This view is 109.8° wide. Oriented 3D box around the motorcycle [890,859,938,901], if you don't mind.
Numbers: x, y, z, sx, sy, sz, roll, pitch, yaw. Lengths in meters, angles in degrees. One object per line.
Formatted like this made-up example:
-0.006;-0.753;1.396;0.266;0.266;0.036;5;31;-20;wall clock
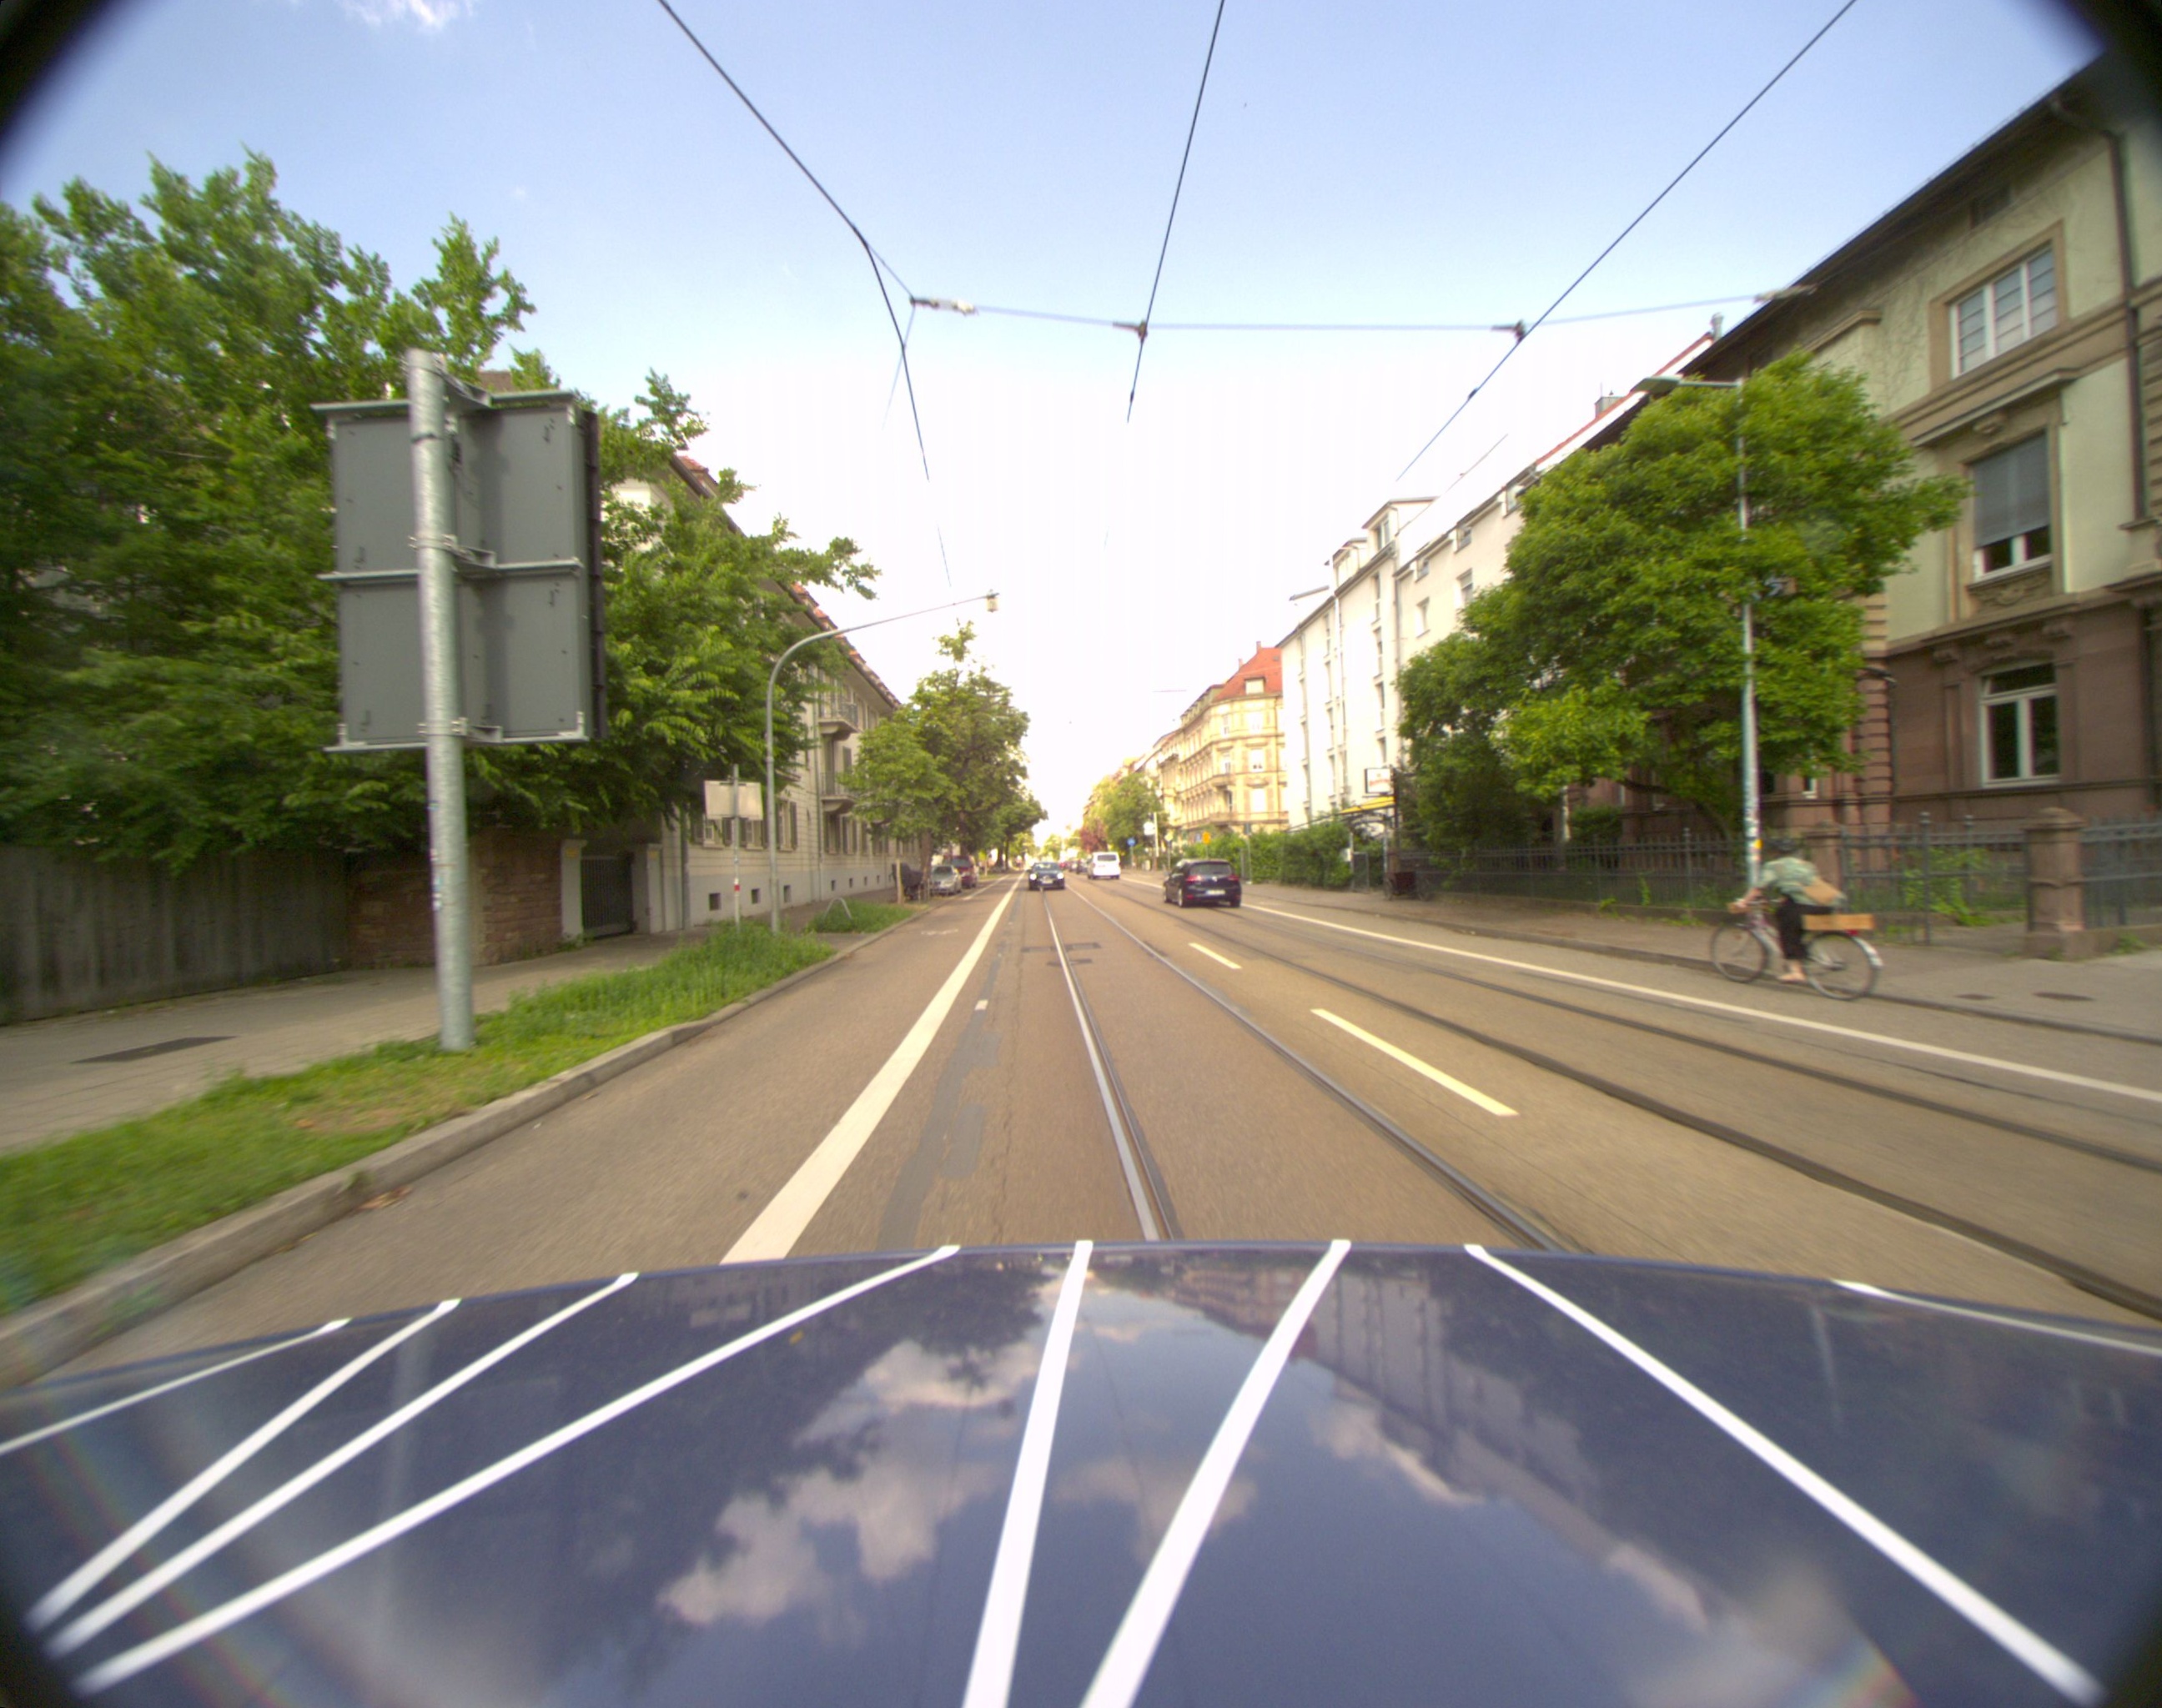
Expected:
-6.504;0.974;29.703;0.982;1.533;2.441;-2;0;8;motorcycle

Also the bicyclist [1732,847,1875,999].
7.610;0.697;8.048;0.601;1.484;0.882;3;0;-1;bicyclist

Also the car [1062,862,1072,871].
-2.276;2.026;121.623;1.599;1.432;3.935;-1;0;-2;car

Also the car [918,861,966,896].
-6.697;1.146;37.009;1.712;1.489;4.787;-2;0;-4;car

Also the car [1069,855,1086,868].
-0.467;0.878;90.955;1.732;1.531;4.275;-1;0;-5;car

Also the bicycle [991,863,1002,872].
-10.488;1.700;94.534;1.271;1.060;0.478;-3;0;-4;bicycle

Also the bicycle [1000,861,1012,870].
-10.729;1.708;108.624;1.491;1.213;0.518;-2;1;3;bicycle

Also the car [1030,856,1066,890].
-1.732;0.951;39.010;1.694;1.567;4.155;-2;0;-3;car

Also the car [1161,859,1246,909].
3.631;0.851;23.197;1.693;1.393;3.929;0;0;-4;car

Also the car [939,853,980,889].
-7.196;0.969;45.414;1.901;1.929;4.949;-2;0;-4;car

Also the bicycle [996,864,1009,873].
-10.234;1.871;99.467;1.651;1.064;0.348;-2;0;0;bicycle

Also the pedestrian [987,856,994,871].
-12.344;1.295;103.695;0.755;1.878;0.886;-3;0;-4;pedestrian

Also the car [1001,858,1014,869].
-10.012;1.275;103.893;1.589;1.436;3.897;-2;0;-4;car

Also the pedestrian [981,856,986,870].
-13.256;1.227;103.543;0.506;1.841;0.687;-3;0;-4;pedestrian

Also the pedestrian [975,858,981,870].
-14.116;1.401;104.179;0.582;1.630;0.975;-3;0;-4;pedestrian

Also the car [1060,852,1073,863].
-2.057;0.515;107.207;1.633;1.399;4.128;-3;0;-4;car

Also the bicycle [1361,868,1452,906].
9.412;0.924;22.182;1.146;0.903;2.987;-5;0;-4;bicycle

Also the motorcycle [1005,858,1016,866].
-13.363;1.463;144.044;2.065;1.485;0.812;-2;0;42;motorcycle

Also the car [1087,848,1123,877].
1.637;0.577;54.098;1.903;1.896;5.382;-2;0;-5;car

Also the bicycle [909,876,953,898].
-6.568;1.448;33.269;1.781;0.897;0.691;-2;0;-1;bicycle

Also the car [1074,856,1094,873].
0.288;0.990;72.716;1.636;1.547;3.820;-2;0;-3;car

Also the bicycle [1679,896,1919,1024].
7.592;1.057;8.201;0.604;1.090;2.022;3;-1;-1;bicycle
